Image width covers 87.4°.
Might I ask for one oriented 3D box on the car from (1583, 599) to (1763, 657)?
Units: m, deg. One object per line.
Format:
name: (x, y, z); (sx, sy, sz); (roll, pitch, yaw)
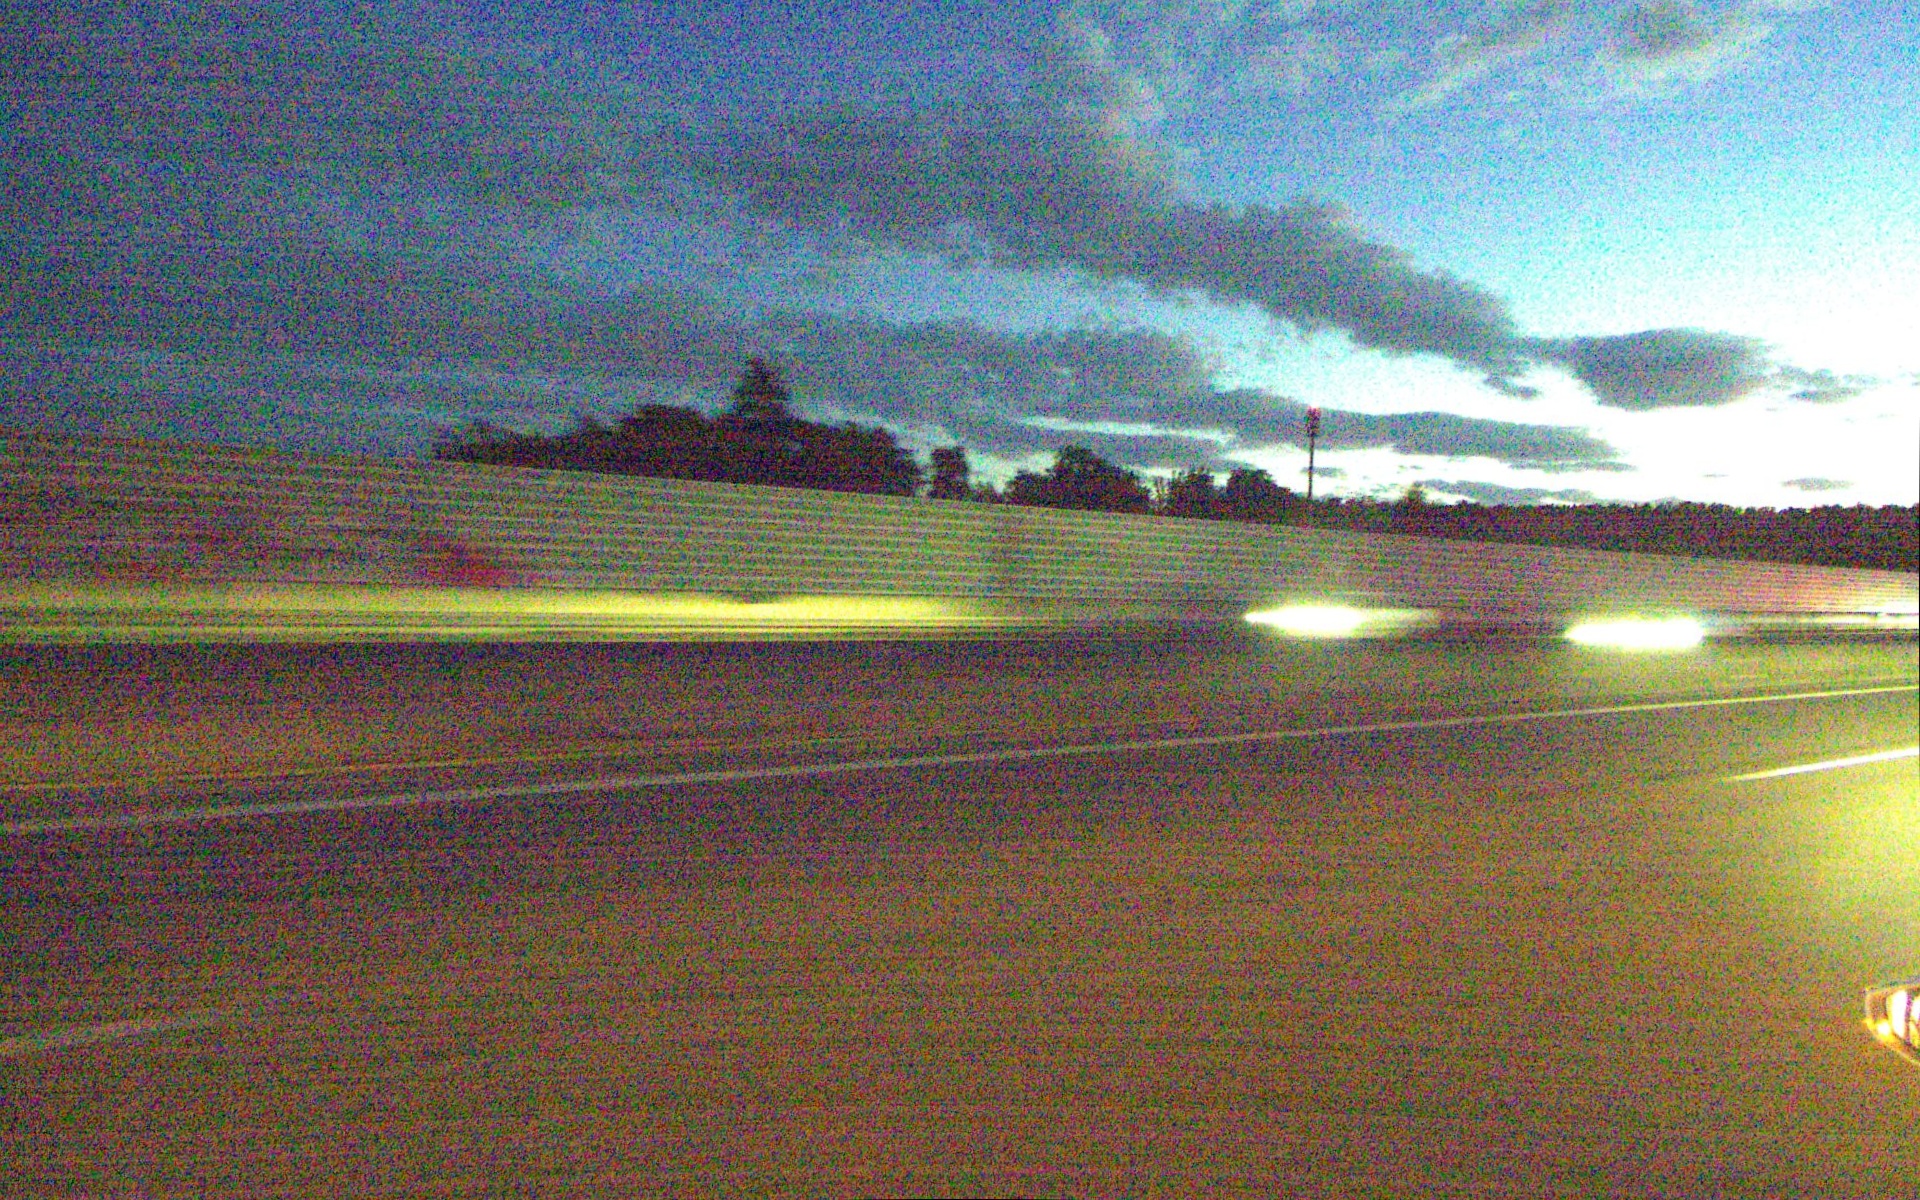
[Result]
car: (21.516, 0.841, 30.289); (5.049, 1.576, 2.547); (2, 0, -30)

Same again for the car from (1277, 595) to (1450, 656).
car: (13.181, 0.854, 32.716); (5.871, 1.805, 2.044); (2, 0, -30)
